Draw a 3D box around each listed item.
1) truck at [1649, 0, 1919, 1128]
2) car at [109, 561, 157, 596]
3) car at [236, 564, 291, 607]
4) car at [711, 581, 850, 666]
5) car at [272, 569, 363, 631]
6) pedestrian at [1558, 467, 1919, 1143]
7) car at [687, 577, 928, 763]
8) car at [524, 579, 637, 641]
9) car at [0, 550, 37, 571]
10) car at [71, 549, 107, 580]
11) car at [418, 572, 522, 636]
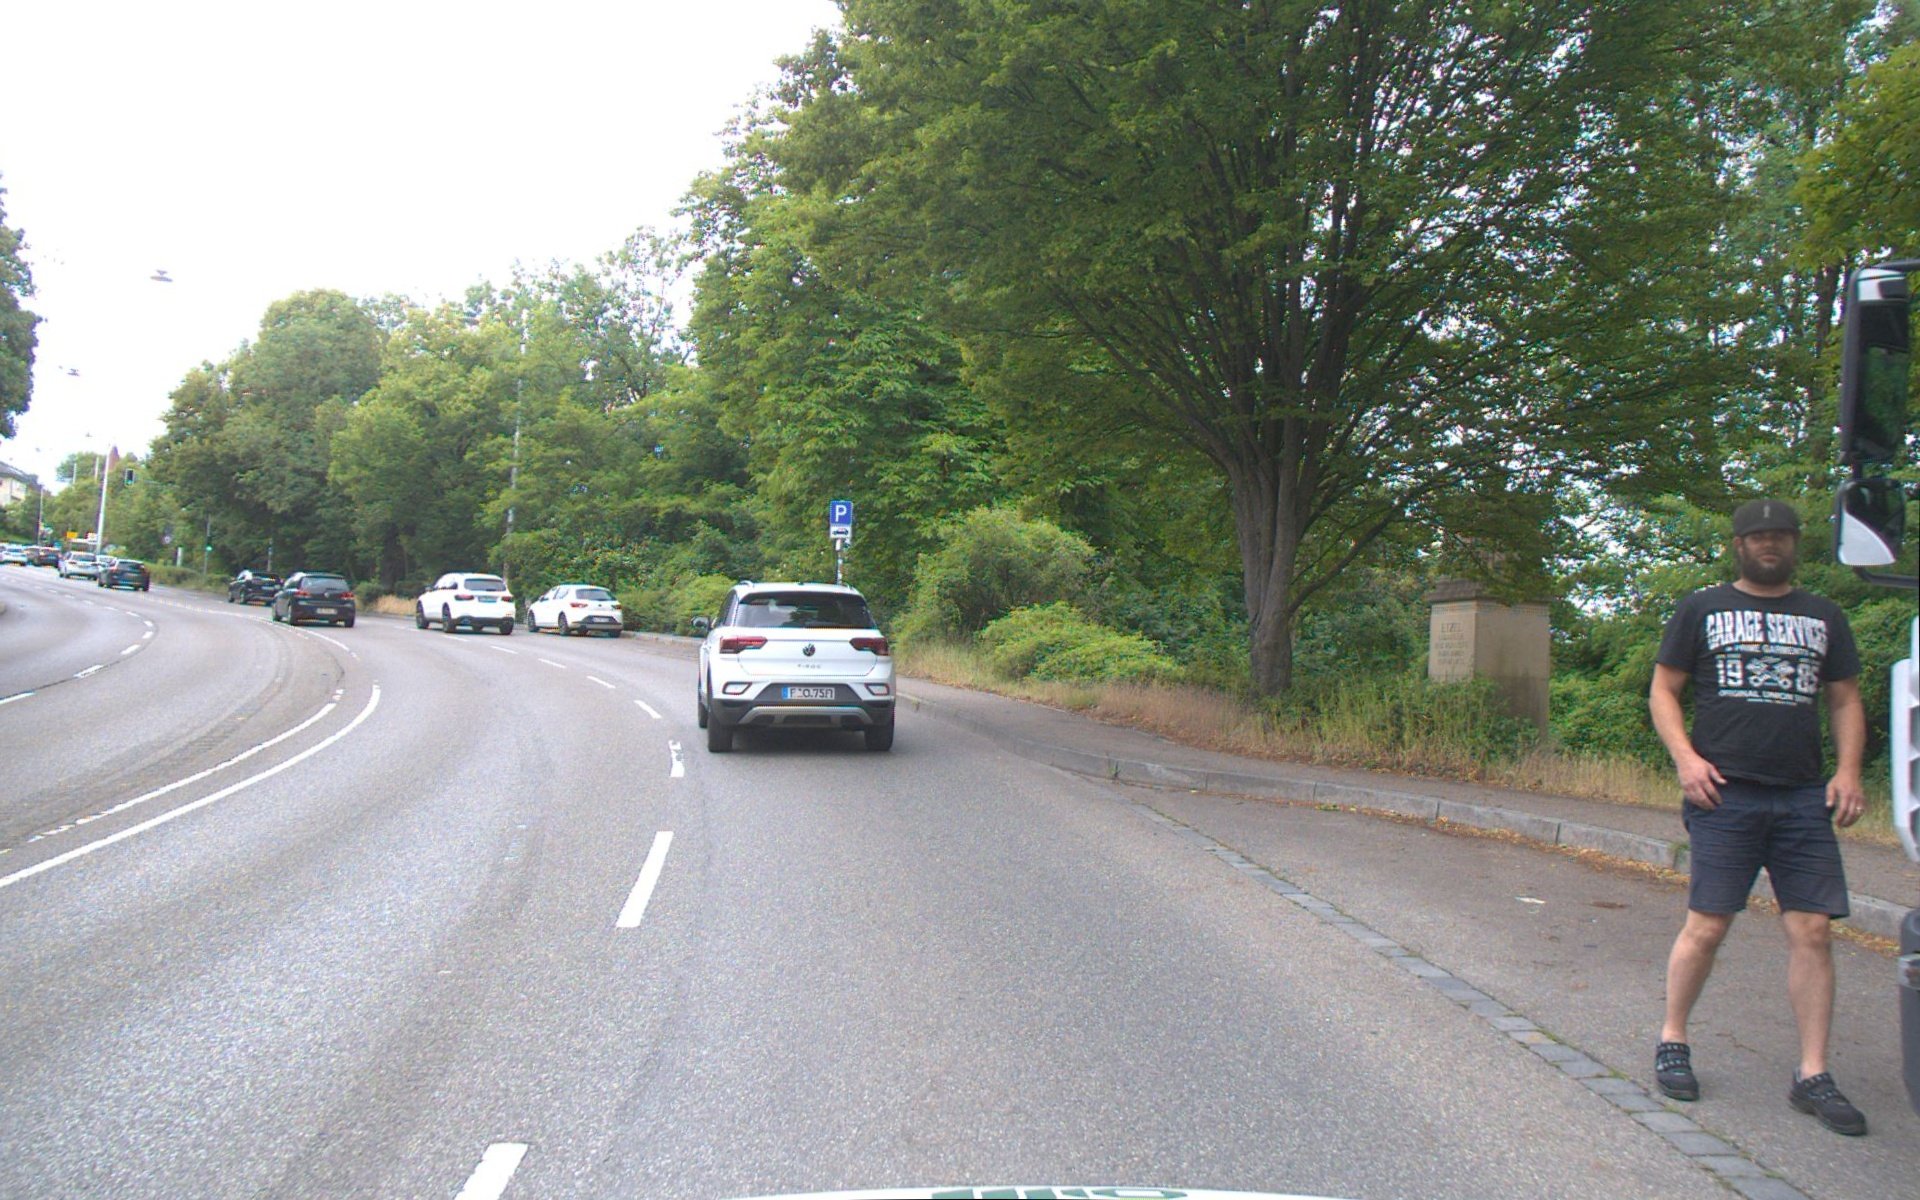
[{"bbox_3d":[3.577,-0.353,1.585,2.432,3.237,7.225,2,0,-3],"label":"truck"},{"bbox_3d":[-40.805,-1.072,81.645,1.970,1.512,3.966,4,0,-27],"label":"car"},{"bbox_3d":[-30.174,-0.640,71.597,1.746,1.634,3.963,4,0,-28],"label":"car"},{"bbox_3d":[-3.877,0.453,35.038,1.734,1.681,4.350,1,0,-23],"label":"car"},{"bbox_3d":[-18.255,-0.030,46.887,1.927,1.491,3.965,4,0,-27],"label":"car"},{"bbox_3d":[2.472,0.574,5.112,0.897,1.866,0.984,1,0,3],"label":"pedestrian"},{"bbox_3d":[-1.657,0.604,16.584,1.965,1.624,3.989,1,0,-12],"label":"car"},{"bbox_3d":[-11.148,0.273,48.374,1.716,1.508,4.649,4,0,-33],"label":"car"},{"bbox_3d":[-77.460,-3.231,136.122,1.966,1.554,3.974,4,0,-22],"label":"car"},{"bbox_3d":[-50.961,-2.097,96.792,1.692,1.617,3.962,4,0,-29],"label":"car"},{"bbox_3d":[-13.893,0.105,46.744,1.834,1.732,3.956,0,0,-32],"label":"car"}]
